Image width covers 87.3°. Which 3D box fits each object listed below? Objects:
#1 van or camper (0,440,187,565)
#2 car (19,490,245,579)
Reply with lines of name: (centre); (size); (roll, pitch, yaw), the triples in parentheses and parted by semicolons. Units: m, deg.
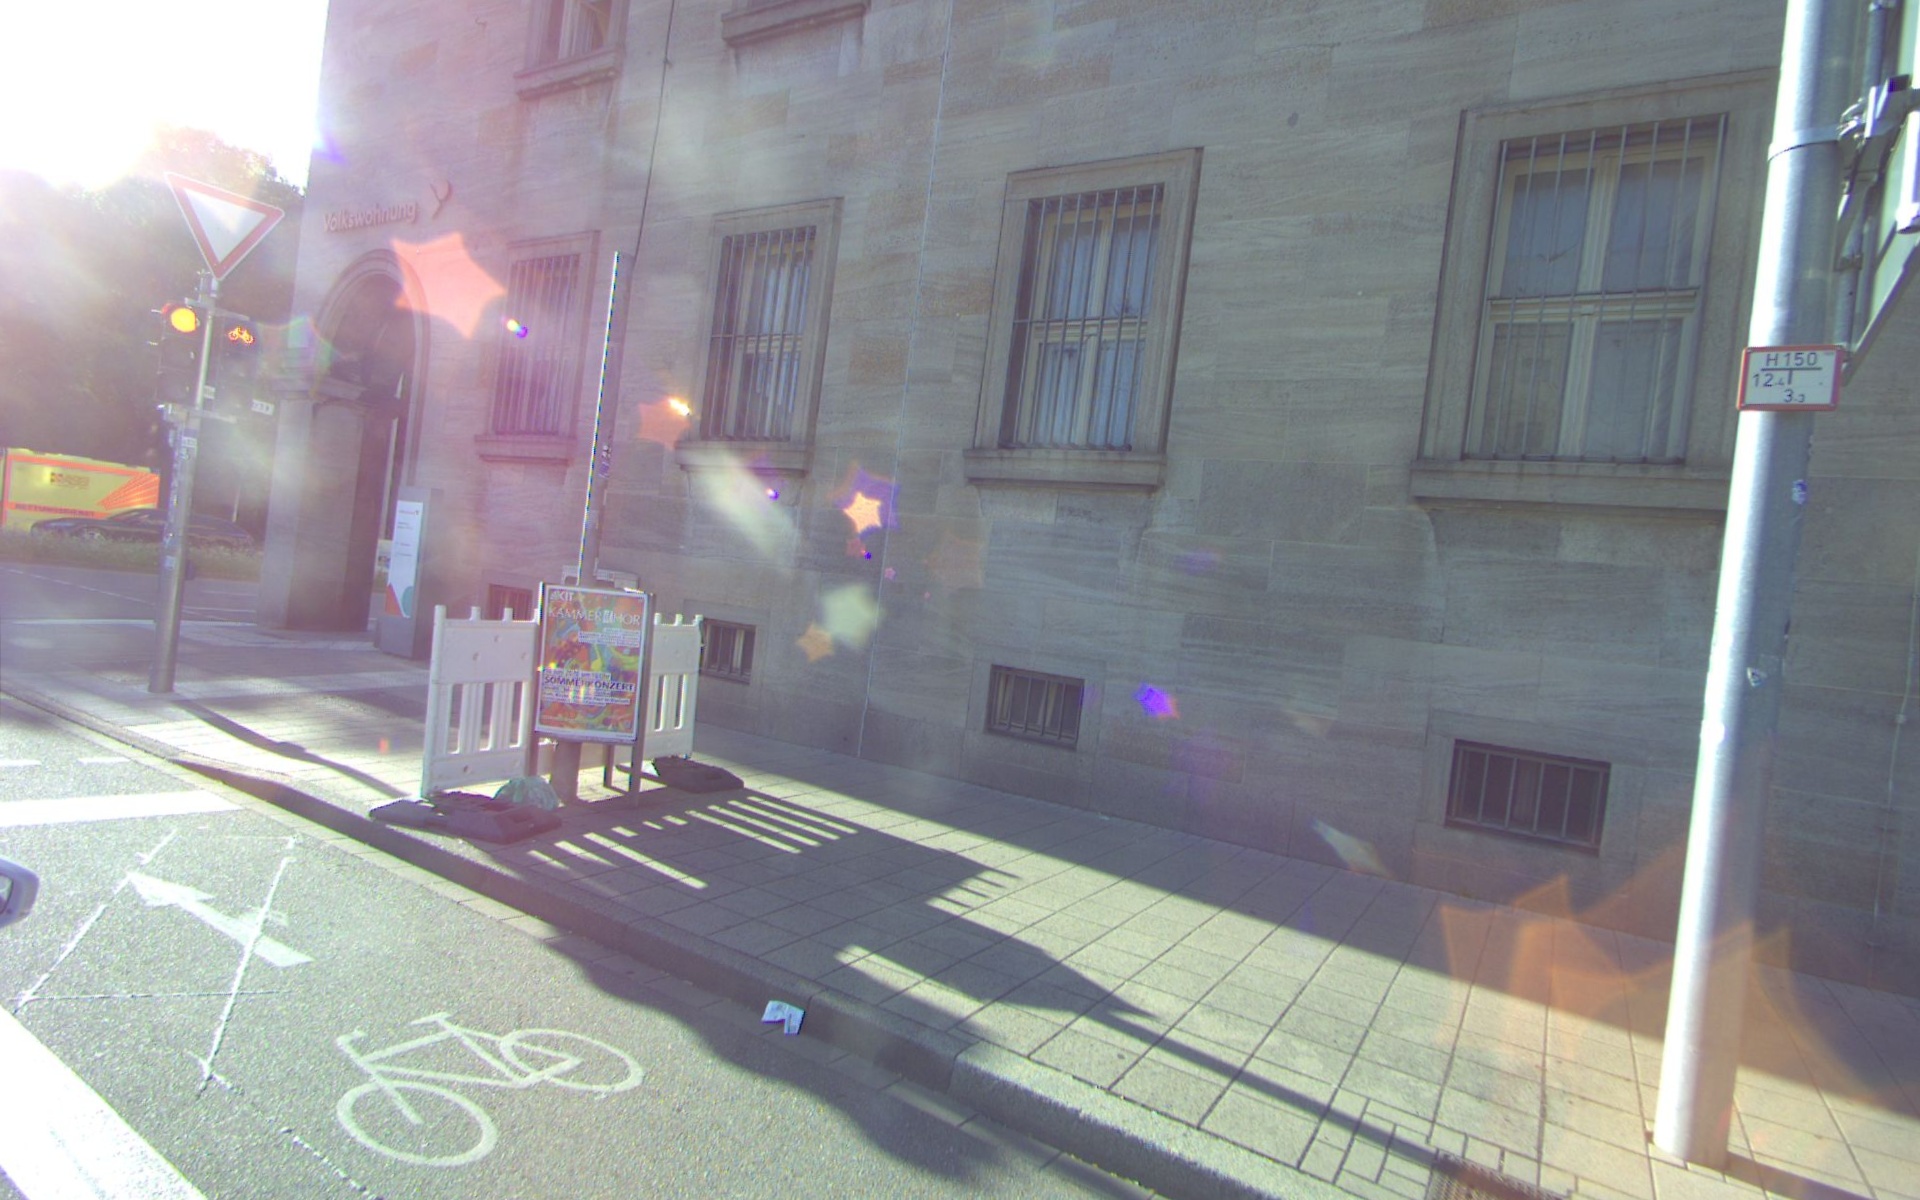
van or camper: (-27.777, -3.050, 29.998); (2.866, 2.893, 6.716); (6, -3, 36)
car: (-22.680, -1.746, 27.743); (1.857, 1.665, 4.324); (6, -3, 32)
